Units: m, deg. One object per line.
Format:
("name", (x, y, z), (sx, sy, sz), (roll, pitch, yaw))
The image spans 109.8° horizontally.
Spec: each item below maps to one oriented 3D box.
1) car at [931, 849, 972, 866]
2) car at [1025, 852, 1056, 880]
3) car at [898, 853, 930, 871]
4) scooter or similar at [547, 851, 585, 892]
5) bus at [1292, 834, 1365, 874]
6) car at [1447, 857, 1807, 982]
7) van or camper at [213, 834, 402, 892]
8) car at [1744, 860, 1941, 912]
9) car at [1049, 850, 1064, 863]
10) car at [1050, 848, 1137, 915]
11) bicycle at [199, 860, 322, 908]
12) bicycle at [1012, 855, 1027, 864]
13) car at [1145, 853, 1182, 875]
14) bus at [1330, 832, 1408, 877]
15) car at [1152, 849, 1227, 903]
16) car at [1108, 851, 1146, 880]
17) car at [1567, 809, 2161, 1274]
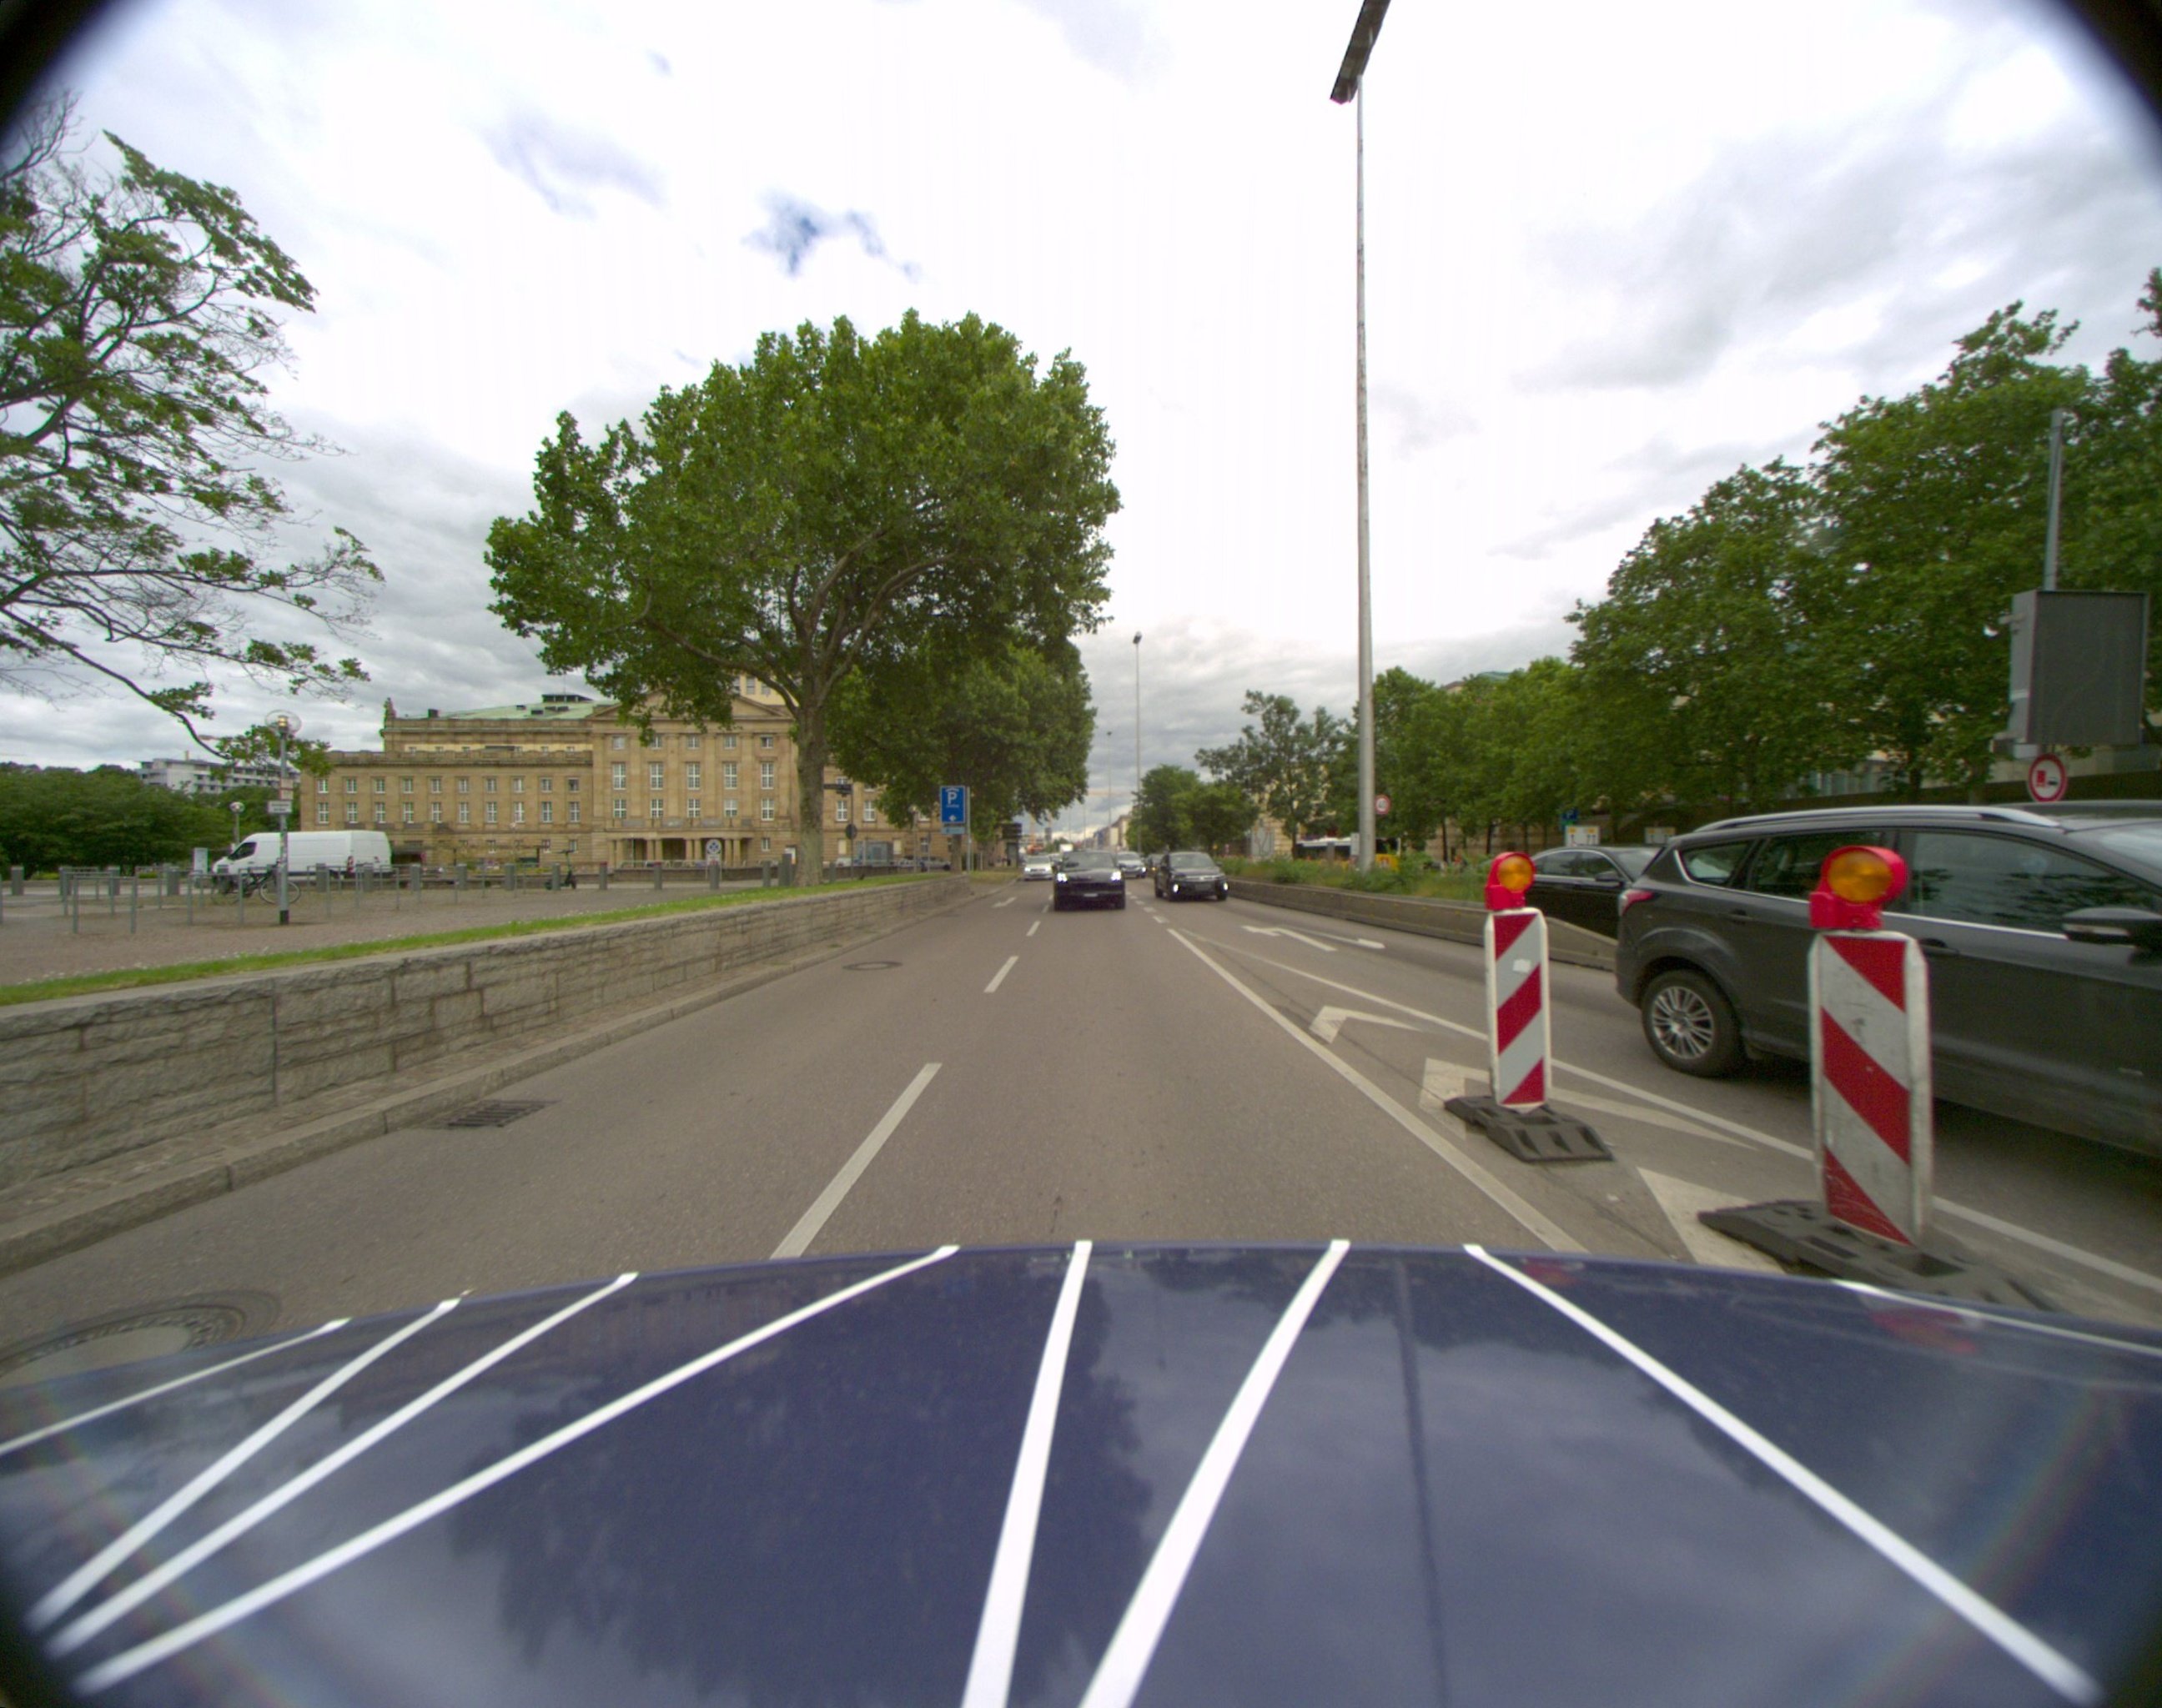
("car", (-13.323, 0.356, 78.240), (3.998, 1.587, 1.734), (-3, 1, -5))
("car", (-2.591, 0.752, 49.542), (1.696, 1.585, 3.999), (-3, 1, 1))
("car", (-14.453, 0.719, 65.809), (1.768, 1.508, 4.218), (-1, -1, 1))
("scooter or similar", (-16.124, 0.540, 23.808), (0.718, 1.239, 0.728), (1, 1, -2))
("bus", (22.064, -0.047, 68.481), (2.920, 3.286, 10.446), (-1, 0, -2))
("car", (7.897, 0.820, 11.755), (1.999, 1.474, 4.808), (-1, 0, -2))
("van or camper", (-33.774, 0.357, 33.342), (5.712, 2.307, 2.319), (-2, 2, -1))
("car", (21.956, 0.862, 22.155), (1.730, 1.364, 4.000), (0, 0, 0))
("car", (-3.338, 0.320, 104.358), (1.733, 1.587, 3.999), (-3, 1, 1))
("car", (0.230, 0.717, 22.355), (2.062, 1.616, 4.599), (-3, 1, -4))
("bicycle", (-19.862, 0.712, 18.423), (2.197, 1.135, 0.685), (0, 0, 0))
("bicycle", (-7.951, 0.720, 98.193), (1.841, 1.066, 0.618), (-1, 1, -9))
("car", (5.932, 0.687, 55.278), (1.999, 1.474, 4.808), (-1, 0, -2))
("bus", (22.337, -0.004, 59.417), (2.930, 3.284, 7.704), (-1, 0, -2))
("car", (3.424, 0.655, 24.731), (1.767, 1.507, 4.151), (-2, 1, -1))
("car", (2.796, 0.662, 47.245), (1.999, 1.607, 4.737), (-1, 1, -1))
("car", (4.854, 0.662, 3.621), (1.899, 1.705, 4.657), (-2, 0, -3))
